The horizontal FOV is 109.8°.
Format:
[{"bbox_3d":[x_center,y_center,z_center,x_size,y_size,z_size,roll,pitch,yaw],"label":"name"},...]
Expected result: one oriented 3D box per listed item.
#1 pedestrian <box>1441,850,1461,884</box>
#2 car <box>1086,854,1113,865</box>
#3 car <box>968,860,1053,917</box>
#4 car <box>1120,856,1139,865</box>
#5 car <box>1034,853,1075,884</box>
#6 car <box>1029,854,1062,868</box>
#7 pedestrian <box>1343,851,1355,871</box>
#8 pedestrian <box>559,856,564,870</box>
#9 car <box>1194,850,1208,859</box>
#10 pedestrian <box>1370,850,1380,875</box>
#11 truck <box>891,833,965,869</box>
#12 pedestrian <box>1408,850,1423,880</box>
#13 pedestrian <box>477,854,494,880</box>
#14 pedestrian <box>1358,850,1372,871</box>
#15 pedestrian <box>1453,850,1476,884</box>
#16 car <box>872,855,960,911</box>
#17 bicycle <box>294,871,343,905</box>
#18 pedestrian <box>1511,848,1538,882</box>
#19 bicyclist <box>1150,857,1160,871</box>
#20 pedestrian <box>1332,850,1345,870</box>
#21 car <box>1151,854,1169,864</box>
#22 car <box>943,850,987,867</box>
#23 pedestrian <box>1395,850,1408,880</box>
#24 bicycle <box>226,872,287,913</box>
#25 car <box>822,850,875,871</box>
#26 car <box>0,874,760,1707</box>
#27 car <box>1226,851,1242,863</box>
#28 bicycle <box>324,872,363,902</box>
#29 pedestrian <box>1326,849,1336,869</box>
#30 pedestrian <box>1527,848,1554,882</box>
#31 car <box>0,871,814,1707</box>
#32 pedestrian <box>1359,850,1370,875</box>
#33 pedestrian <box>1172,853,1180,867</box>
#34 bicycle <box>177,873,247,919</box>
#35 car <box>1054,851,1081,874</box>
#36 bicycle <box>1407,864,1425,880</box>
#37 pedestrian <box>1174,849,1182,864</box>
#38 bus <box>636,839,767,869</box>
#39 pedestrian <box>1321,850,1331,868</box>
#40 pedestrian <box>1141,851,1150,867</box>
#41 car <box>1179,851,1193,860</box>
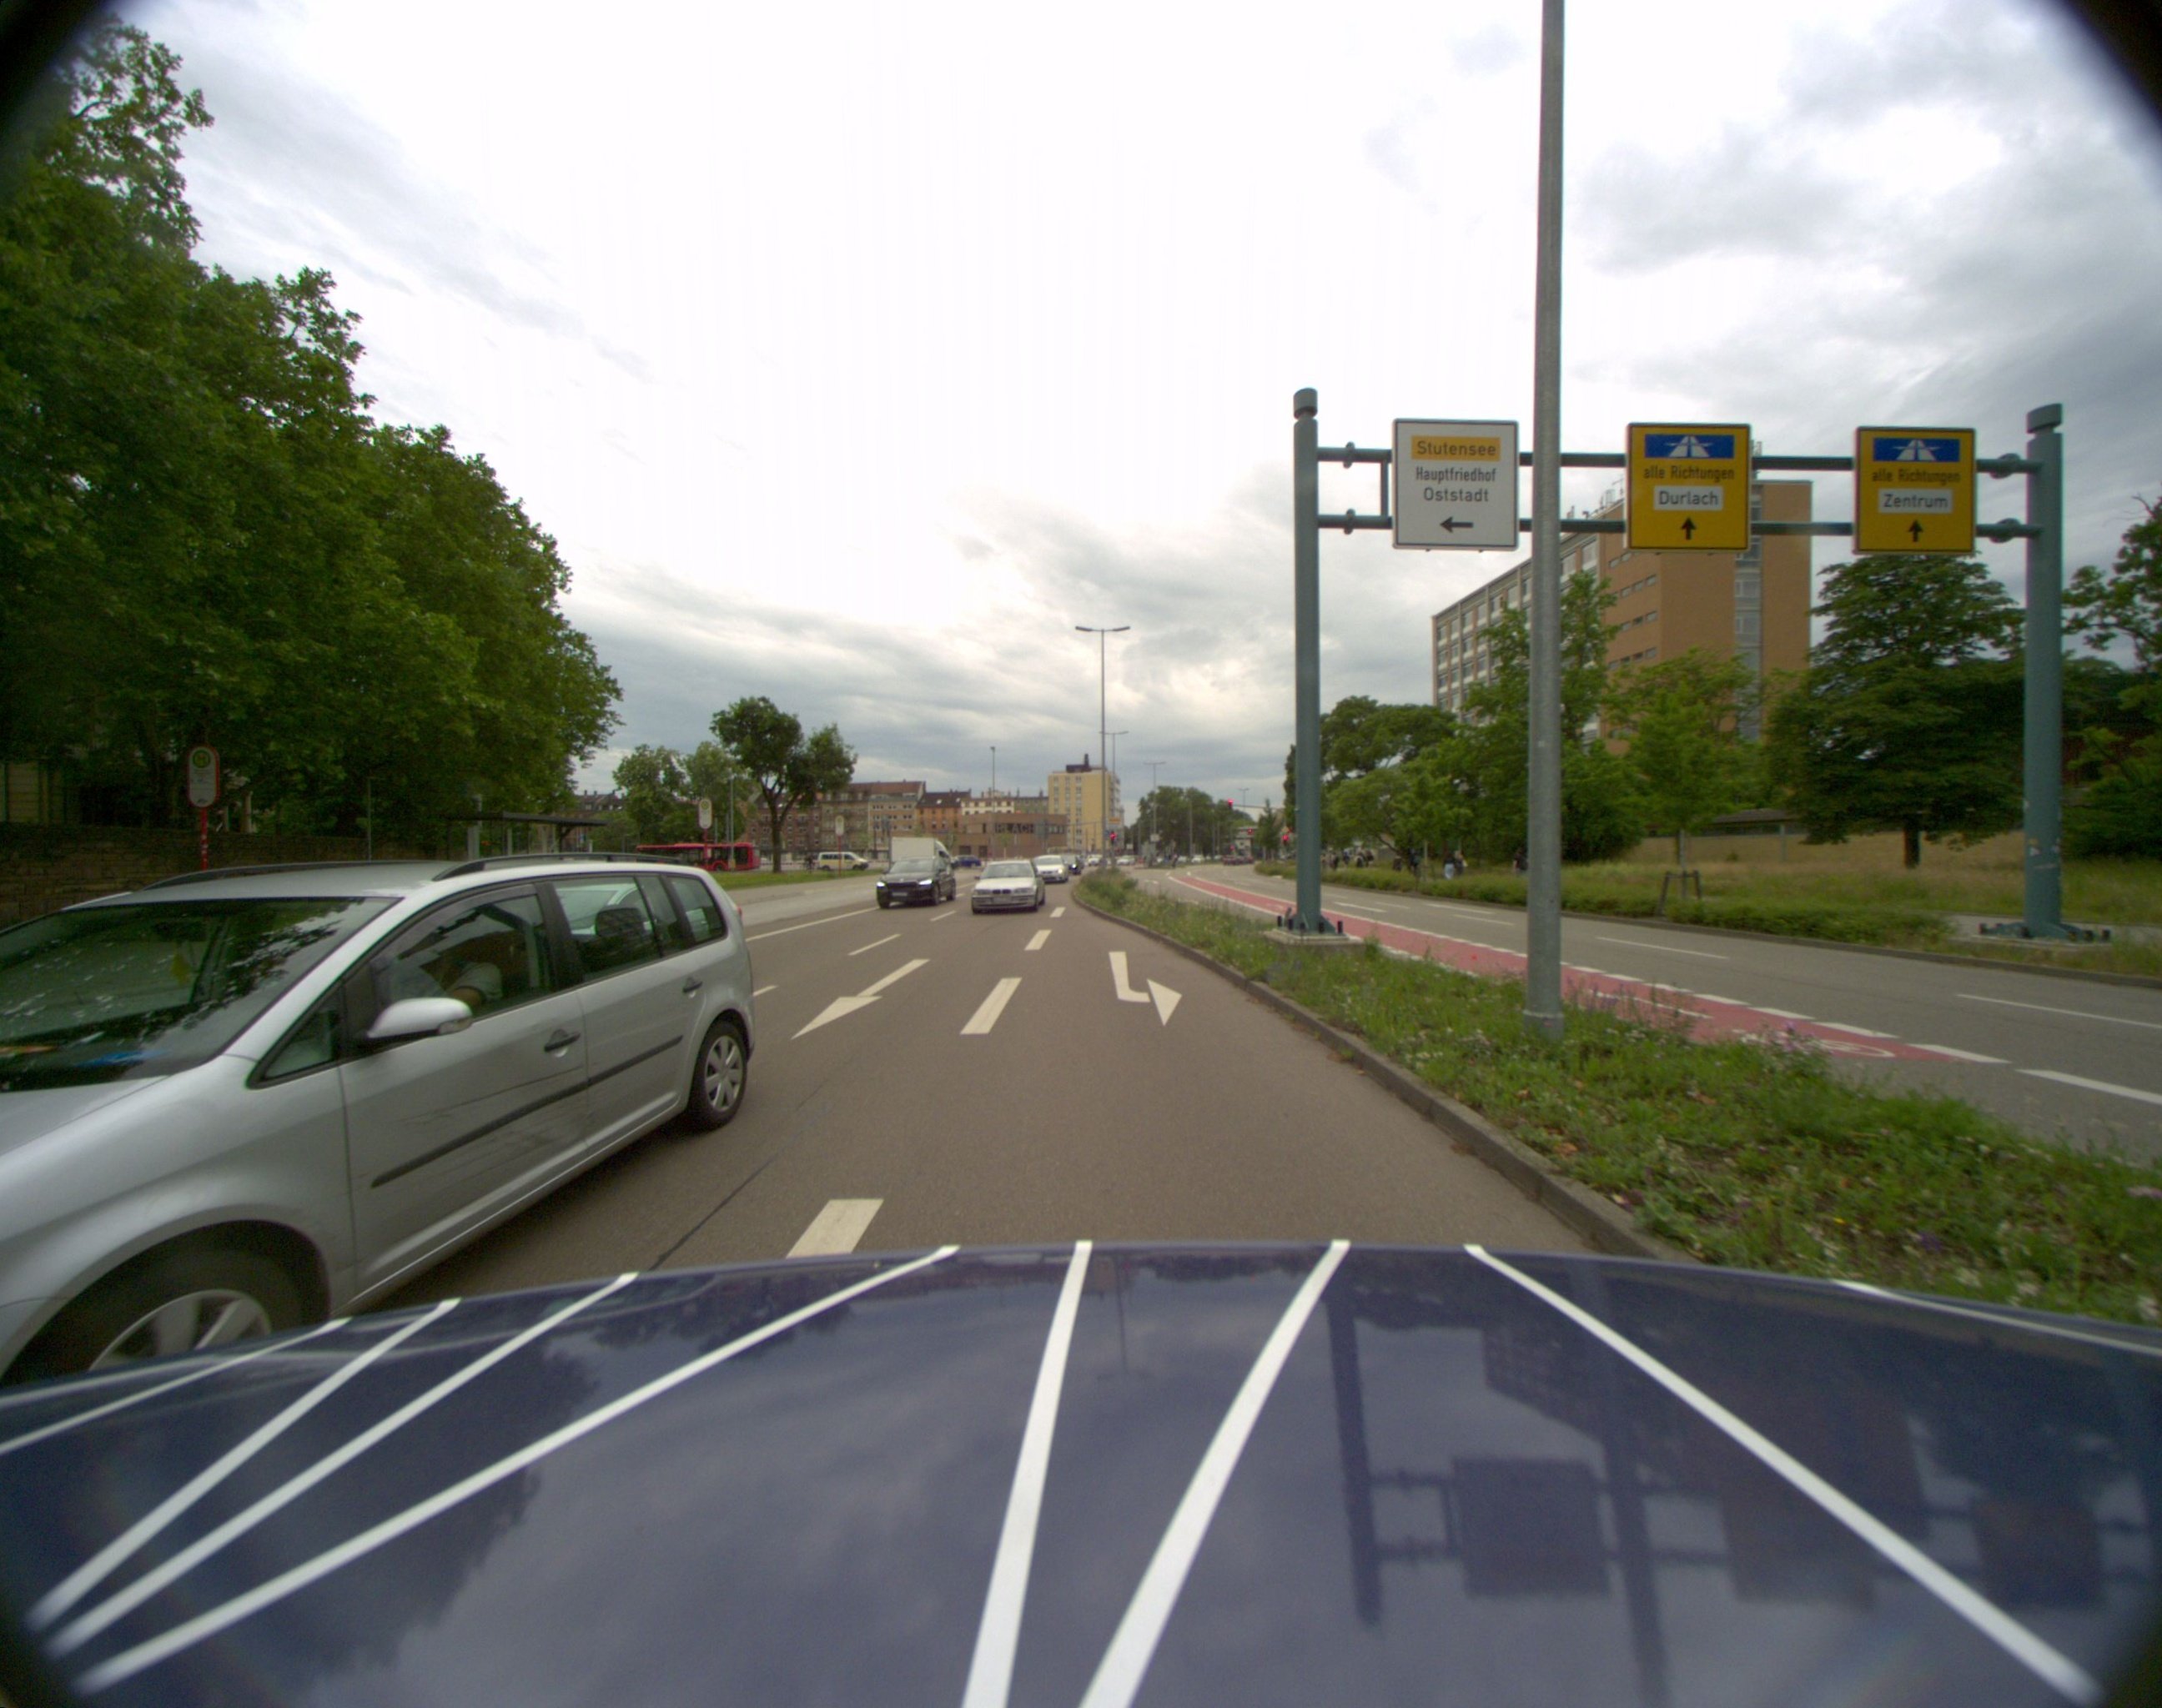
[{"bbox_3d":[18.472,0.653,37.899,0.587,1.650,0.720,1,0,-4],"label":"pedestrian"},{"bbox_3d":[2.600,0.776,107.737,1.815,1.466,4.041,1,0,38],"label":"car"},{"bbox_3d":[-1.891,0.907,21.653,1.726,1.406,4.246,-2,0,4],"label":"car"},{"bbox_3d":[7.650,1.010,119.941,1.515,1.382,3.439,1,0,30],"label":"car"},{"bbox_3d":[-1.349,0.726,40.024,1.785,1.454,3.871,-2,0,3],"label":"car"},{"bbox_3d":[-4.108,0.827,88.461,1.685,1.628,4.295,1,0,34],"label":"car"},{"bbox_3d":[20.227,0.526,57.324,0.637,1.471,0.762,1,0,5],"label":"pedestrian"},{"bbox_3d":[-63.526,1.053,92.883,0.373,1.695,0.372,1,1,0],"label":"pedestrian"},{"bbox_3d":[24.314,0.099,153.617,1.801,1.586,3.766,1,0,26],"label":"car"},{"bbox_3d":[20.031,0.568,51.795,0.579,1.702,0.763,1,0,18],"label":"pedestrian"},{"bbox_3d":[-15.267,-0.359,76.165,6.852,3.393,2.559,-1,2,-4],"label":"truck"},{"bbox_3d":[18.668,0.598,42.379,0.661,1.622,0.764,1,0,16],"label":"pedestrian"},{"bbox_3d":[-39.338,0.842,50.210,0.820,1.725,0.759,1,1,42],"label":"pedestrian"},{"bbox_3d":[22.210,0.524,59.395,0.635,1.603,0.829,-2,0,-20],"label":"pedestrian"},{"bbox_3d":[19.155,0.648,37.934,0.709,1.663,0.767,1,0,-5],"label":"pedestrian"},{"bbox_3d":[-5.442,0.897,25.618,1.912,1.615,4.490,-2,0,0],"label":"car"},{"bbox_3d":[-25.452,1.124,25.383,0.596,1.053,1.709,1,0,-25],"label":"bicycle"},{"bbox_3d":[17.949,0.434,30.772,0.646,1.350,0.711,1,0,0],"label":"pedestrian"},{"bbox_3d":[9.103,1.196,93.394,1.191,1.725,0.807,1,0,3],"label":"bicyclist"},{"bbox_3d":[19.433,0.479,57.361,0.730,1.471,0.813,1,0,5],"label":"pedestrian"},{"bbox_3d":[13.809,0.907,132.317,1.835,1.753,3.918,1,0,26],"label":"car"},{"bbox_3d":[-12.581,0.509,82.511,4.437,1.735,1.761,1,0,-23],"label":"car"},{"bbox_3d":[17.874,0.611,42.387,0.575,1.599,0.617,1,0,17],"label":"pedestrian"},{"bbox_3d":[-24.101,1.098,22.240,0.596,1.123,1.709,1,0,-25],"label":"bicycle"},{"bbox_3d":[-23.198,0.610,75.880,4.712,1.909,1.919,-1,3,-2],"label":"car"},{"bbox_3d":[-3.022,0.962,2.847,1.733,1.594,4.106,-1,0,2],"label":"car"},{"bbox_3d":[24.233,0.449,120.279,1.812,1.657,3.955,1,1,23],"label":"car"},{"bbox_3d":[-26.147,1.154,26.961,0.552,0.986,1.633,1,0,-27],"label":"bicycle"},{"bbox_3d":[22.447,0.425,68.166,0.638,1.790,0.762,-1,0,5],"label":"pedestrian"},{"bbox_3d":[18.657,0.443,30.880,0.646,1.354,0.680,1,0,-1],"label":"pedestrian"},{"bbox_3d":[-2.979,0.986,3.166,1.829,1.542,4.527,-2,2,4],"label":"car"},{"bbox_3d":[19.252,0.586,51.624,0.622,1.685,0.747,1,0,14],"label":"pedestrian"},{"bbox_3d":[11.245,0.708,90.371,0.777,1.657,0.706,1,0,-7],"label":"pedestrian"},{"bbox_3d":[-23.518,1.112,20.604,0.596,1.129,1.709,1,0,-25],"label":"bicycle"},{"bbox_3d":[-1.023,0.616,58.379,1.888,1.591,4.446,-4,0,0],"label":"car"},{"bbox_3d":[18.655,0.994,42.358,0.661,0.882,1.717,1,0,16],"label":"bicycle"},{"bbox_3d":[11.800,0.310,92.508,0.769,1.794,0.739,1,0,-21],"label":"pedestrian"},{"bbox_3d":[-40.005,-0.020,80.385,12.090,2.891,2.937,-1,0,-3],"label":"bus"},{"bbox_3d":[23.243,0.482,72.169,0.708,1.661,0.890,-2,0,5],"label":"pedestrian"},{"bbox_3d":[7.655,0.579,90.091,0.917,1.794,0.541,1,1,17],"label":"pedestrian"},{"bbox_3d":[20.053,0.326,144.865,1.606,1.586,3.766,1,0,26],"label":"car"}]
